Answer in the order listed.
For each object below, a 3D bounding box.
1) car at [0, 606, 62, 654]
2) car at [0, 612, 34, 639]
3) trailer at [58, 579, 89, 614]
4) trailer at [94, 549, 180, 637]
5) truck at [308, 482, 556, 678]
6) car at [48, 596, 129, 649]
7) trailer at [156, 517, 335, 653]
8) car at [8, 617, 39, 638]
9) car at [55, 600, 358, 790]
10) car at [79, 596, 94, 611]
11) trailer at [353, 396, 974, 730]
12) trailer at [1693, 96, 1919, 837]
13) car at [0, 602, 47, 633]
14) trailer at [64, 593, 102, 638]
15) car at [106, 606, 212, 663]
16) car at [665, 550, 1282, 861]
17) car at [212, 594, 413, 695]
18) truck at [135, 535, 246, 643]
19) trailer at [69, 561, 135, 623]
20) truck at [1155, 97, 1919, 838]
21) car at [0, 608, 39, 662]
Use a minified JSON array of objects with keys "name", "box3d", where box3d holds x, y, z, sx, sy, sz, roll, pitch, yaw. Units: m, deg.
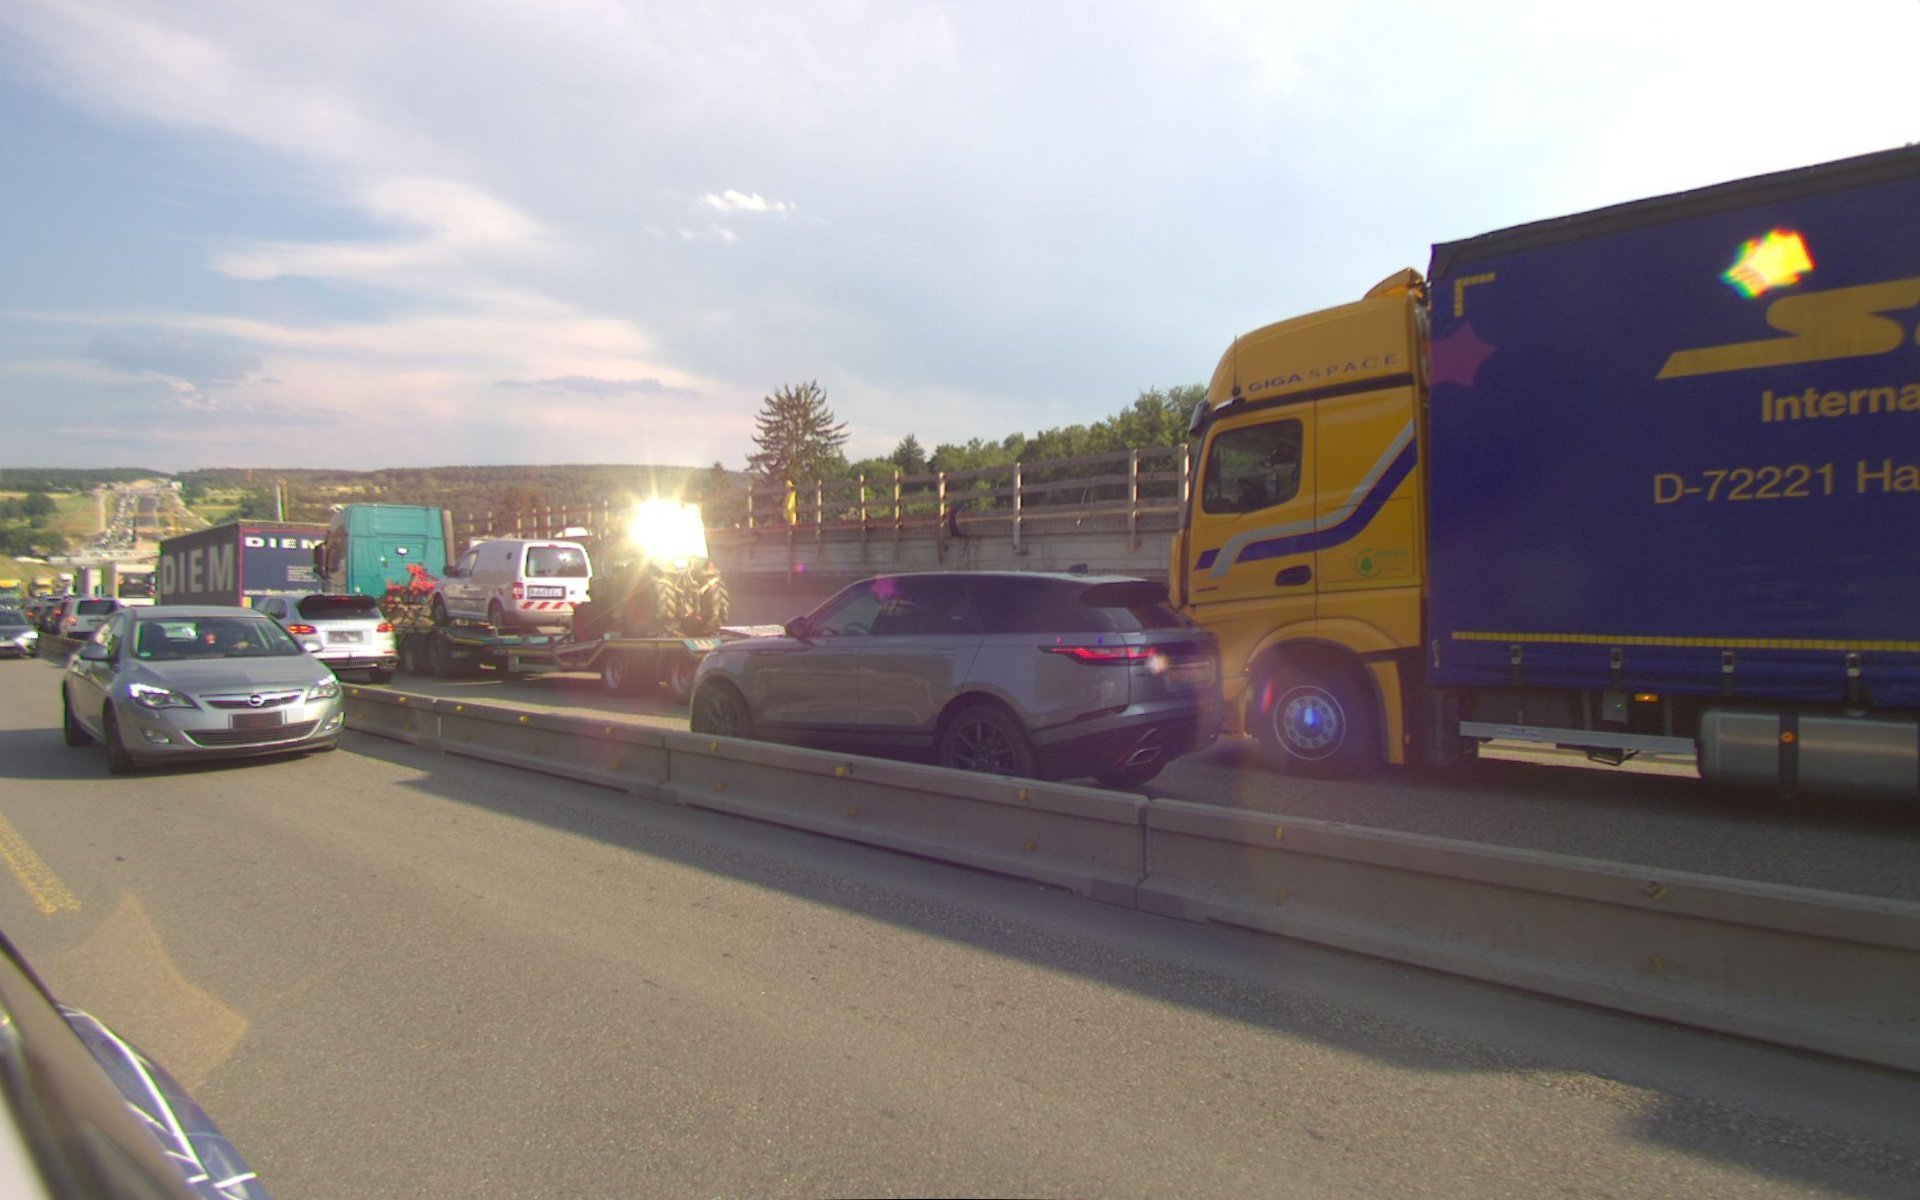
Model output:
[{"name":"car","box3d":[-42.167,1.296,45.857,4.900,1.978,1.813,1,1,43]},{"name":"car","box3d":[-62.387,1.642,66.681,1.841,1.598,4.749,-1,1,-45]},{"name":"trailer","box3d":[-108.978,-0.460,124.345,2.781,4.136,8.298,1,0,-42]},{"name":"trailer","box3d":[-45.269,-0.383,55.571,7.156,4.499,2.878,0,1,45]},{"name":"truck","box3d":[-12.276,-0.366,23.224,7.111,3.834,2.719,0,-1,42]},{"name":"car","box3d":[-34.791,0.858,40.357,5.130,1.948,1.803,1,-2,43]},{"name":"trailer","box3d":[-25.784,-0.420,36.105,12.493,4.154,2.685,0,-1,43]},{"name":"car","box3d":[-78.717,2.311,85.073,1.754,1.467,4.818,-2,2,-45]},{"name":"car","box3d":[-7.614,0.756,10.070,4.120,1.498,1.785,0,0,44]},{"name":"car","box3d":[-157.680,0.680,182.695,1.971,2.636,5.621,1,-1,-41]},{"name":"trailer","box3d":[-6.643,-0.386,18.099,16.045,3.845,2.719,0,-1,43]},{"name":"trailer","box3d":[11.801,-0.696,1.890,16.743,4.166,2.686,1,0,41]},{"name":"car","box3d":[-52.140,0.925,56.082,5.370,1.617,1.856,0,-2,44]},{"name":"trailer","box3d":[-89.772,1.495,103.472,2.426,4.352,13.790,1,0,-43]},{"name":"car","box3d":[-23.895,0.969,30.119,4.818,1.533,1.783,0,-1,44]},{"name":"car","box3d":[-0.146,0.569,7.857,4.689,1.714,1.907,1,0,41]},{"name":"car","box3d":[-12.316,0.734,19.108,4.846,1.657,1.939,1,0,41]},{"name":"truck","box3d":[-31.600,-0.395,41.509,5.030,4.146,2.719,0,-1,42]},{"name":"trailer","box3d":[-63.208,-0.570,74.367,2.743,4.235,13.844,1,0,-44]},{"name":"truck","box3d":[4.772,-0.758,8.014,5.791,4.172,2.673,0,0,41]},{"name":"car","box3d":[-27.732,0.989,28.951,4.001,1.452,1.798,-1,1,44]}]
